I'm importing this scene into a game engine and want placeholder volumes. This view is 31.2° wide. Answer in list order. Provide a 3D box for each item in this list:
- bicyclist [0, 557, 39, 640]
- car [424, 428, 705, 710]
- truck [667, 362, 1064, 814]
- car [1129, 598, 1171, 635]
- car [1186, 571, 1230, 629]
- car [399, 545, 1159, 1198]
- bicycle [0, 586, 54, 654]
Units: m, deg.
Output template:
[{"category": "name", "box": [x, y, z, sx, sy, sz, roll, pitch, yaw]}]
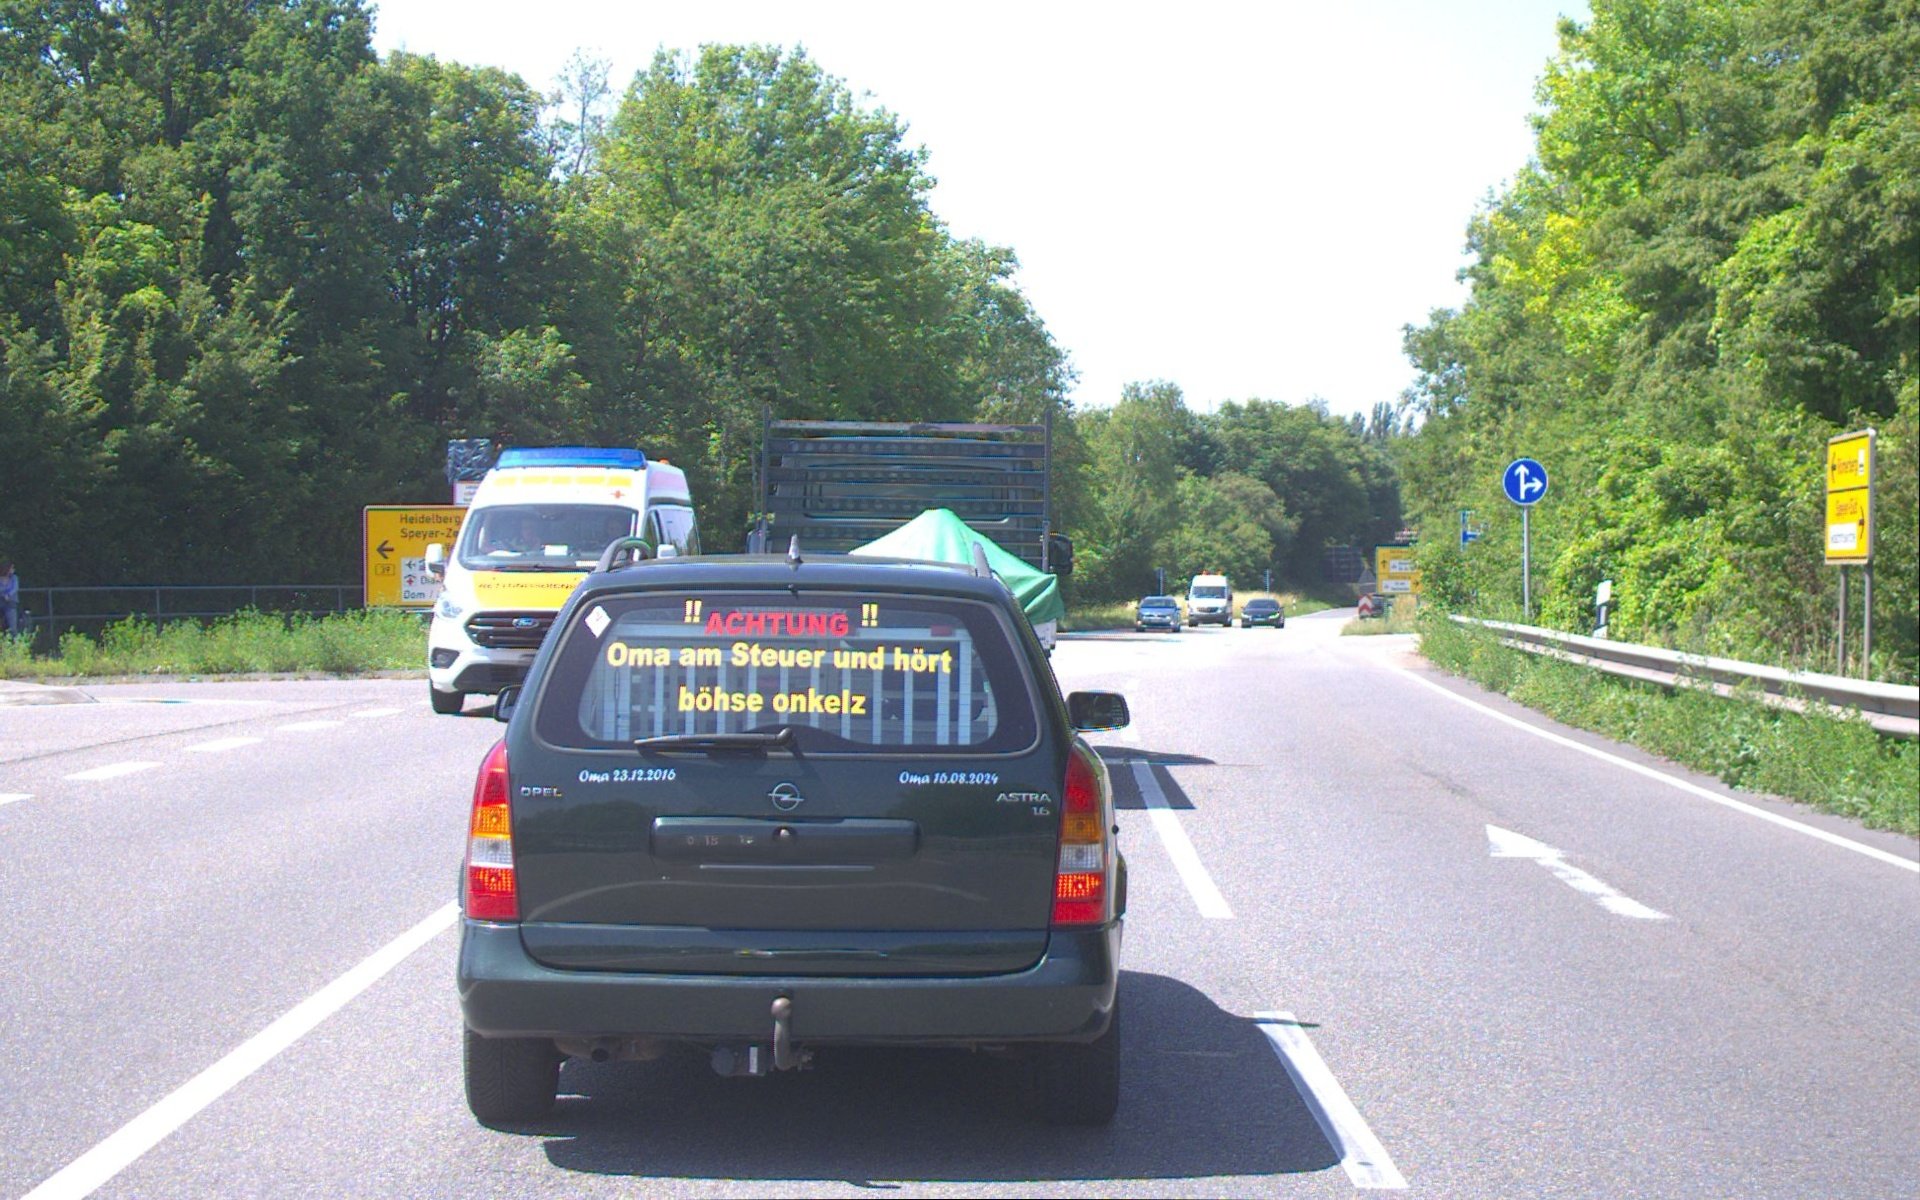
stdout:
[{"category": "bicyclist", "box": [-15.785, -0.031, 57.152, 0.689, 1.358, 0.608, 1, 1, 35]}, {"category": "car", "box": [-3.552, -0.317, 31.801, 1.990, 2.360, 5.182, 1, 1, 0]}, {"category": "truck", "box": [-0.441, -0.121, 22.958, 2.139, 2.556, 6.639, 1, 1, 3]}, {"category": "car", "box": [7.740, 0.665, 139.941, 1.644, 1.414, 3.766, 1, 0, 3]}, {"category": "car", "box": [12.519, -0.014, 173.511, 2.105, 2.840, 6.011, 1, 0, 4]}, {"category": "car", "box": [-0.394, 0.591, 9.767, 1.720, 1.452, 3.797, 1, 1, 1]}, {"category": "bicycle", "box": [-15.794, 0.336, 57.150, 0.436, 1.109, 1.479, 0, 1, 34]}]
